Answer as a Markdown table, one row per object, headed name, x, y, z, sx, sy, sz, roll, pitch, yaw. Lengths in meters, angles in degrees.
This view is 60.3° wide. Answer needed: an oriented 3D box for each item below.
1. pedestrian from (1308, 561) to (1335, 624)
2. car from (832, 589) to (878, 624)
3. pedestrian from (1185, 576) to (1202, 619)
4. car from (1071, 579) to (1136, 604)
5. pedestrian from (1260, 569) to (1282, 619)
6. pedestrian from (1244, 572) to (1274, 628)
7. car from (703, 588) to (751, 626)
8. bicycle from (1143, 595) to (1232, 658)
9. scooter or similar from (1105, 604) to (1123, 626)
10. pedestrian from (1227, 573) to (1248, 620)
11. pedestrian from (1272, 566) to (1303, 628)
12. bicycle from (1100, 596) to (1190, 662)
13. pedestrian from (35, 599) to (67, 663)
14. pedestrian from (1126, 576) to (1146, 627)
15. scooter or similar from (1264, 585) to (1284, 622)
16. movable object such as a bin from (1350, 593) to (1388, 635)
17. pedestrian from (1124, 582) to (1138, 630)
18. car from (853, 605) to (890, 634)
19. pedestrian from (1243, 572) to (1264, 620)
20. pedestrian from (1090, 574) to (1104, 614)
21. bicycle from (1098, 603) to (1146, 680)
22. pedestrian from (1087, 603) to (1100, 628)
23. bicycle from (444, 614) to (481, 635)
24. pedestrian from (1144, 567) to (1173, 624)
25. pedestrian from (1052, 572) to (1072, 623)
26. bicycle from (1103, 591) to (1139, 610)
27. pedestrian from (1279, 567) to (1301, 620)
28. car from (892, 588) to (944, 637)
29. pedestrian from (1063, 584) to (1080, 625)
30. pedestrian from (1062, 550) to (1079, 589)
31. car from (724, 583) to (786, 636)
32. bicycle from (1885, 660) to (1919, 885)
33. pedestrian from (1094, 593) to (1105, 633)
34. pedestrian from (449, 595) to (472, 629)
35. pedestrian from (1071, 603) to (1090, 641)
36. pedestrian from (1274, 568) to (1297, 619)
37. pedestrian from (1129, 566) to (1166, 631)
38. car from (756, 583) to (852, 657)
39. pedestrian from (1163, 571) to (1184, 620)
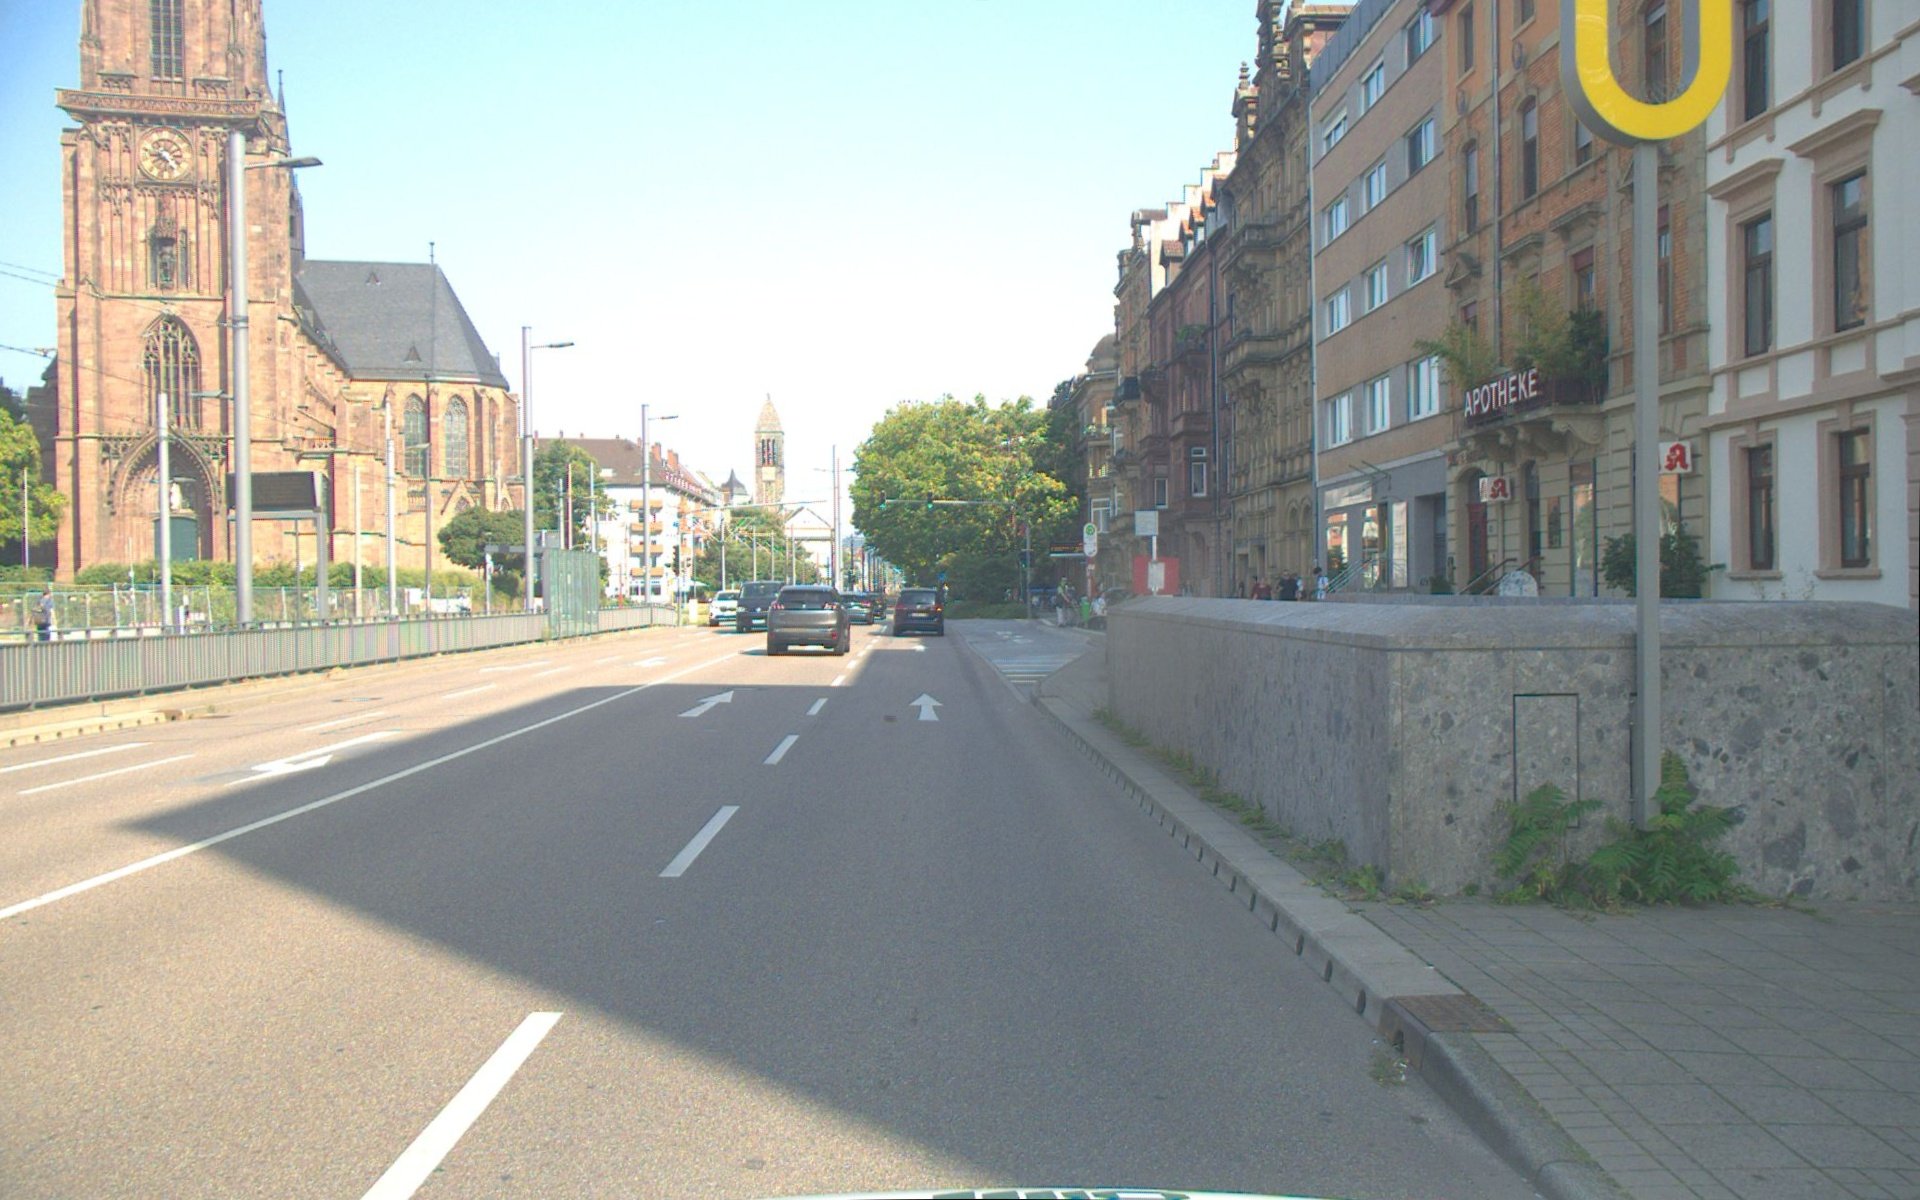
| name | x | y | z | sx | sy | sz | roll | pitch | yaw |
| --- | --- | --- | --- | --- | --- | --- | --- | --- | --- |
| pedestrian | 10.822 | -0.217 | 49.534 | 0.591 | 1.863 | 0.742 | -1 | 0 | -5 |
| car | -4.634 | 0.272 | 73.579 | 1.826 | 1.449 | 4.356 | 0 | 1 | -1 |
| pedestrian | 8.918 | -0.109 | 63.157 | 0.476 | 1.638 | 0.812 | -1 | 0 | 0 |
| car | 9.706 | -0.583 | 111.910 | 4.099 | 1.590 | 1.998 | -1 | 0 | -6 |
| pedestrian | 10.739 | -0.208 | 57.128 | 0.591 | 1.721 | 0.586 | -1 | 0 | -5 |
| pedestrian | 8.858 | 0.004 | 48.983 | 0.705 | 1.638 | 0.856 | -1 | 0 | -1 |
| car | -10.819 | 0.288 | 77.159 | 1.678 | 1.639 | 4.503 | -2 | 0 | -2 |
| bicycle | 4.339 | 0.497 | 31.608 | 1.599 | 1.168 | 0.601 | -1 | 0 | 0 |
| scooter or similar | 5.401 | 0.519 | 58.054 | 0.554 | 0.754 | 0.514 | -1 | 0 | -5 |
| pedestrian | 10.431 | -0.126 | 62.234 | 0.617 | 1.749 | 0.690 | -1 | 0 | -2 |
| pedestrian | 9.615 | -0.092 | 48.624 | 0.705 | 1.818 | 0.856 | -1 | 0 | -1 |
| bicycle | 3.452 | 0.536 | 30.820 | 1.601 | 1.168 | 0.385 | -1 | 0 | -7 |
| pedestrian | -24.841 | 0.844 | 45.214 | 0.507 | 1.730 | 0.664 | -1 | 0 | -2 |
| pedestrian | 6.156 | 0.045 | 57.880 | 0.554 | 1.759 | 0.617 | -1 | 0 | -5 |
| scooter or similar | 10.295 | 0.104 | 54.258 | 0.353 | 1.183 | 1.151 | -1 | 0 | -4 |
| movable object such as a bin | 10.773 | 0.366 | 43.554 | 0.725 | 1.099 | 0.666 | -1 | 0 | -18 |
| pedestrian | 6.354 | 0.229 | 61.467 | 0.334 | 1.763 | 0.805 | -1 | 0 | -5 |
| car | -4.798 | 1.061 | 90.158 | 1.826 | 1.449 | 4.356 | 0 | 1 | -1 |
| pedestrian | 10.516 | -0.156 | 59.195 | 0.591 | 1.683 | 0.586 | -1 | 0 | -5 |
| pedestrian | 5.968 | -0.254 | 71.998 | 0.472 | 1.731 | 0.702 | -1 | 0 | -5 |
| bicycle | 2.567 | 0.643 | 26.317 | 0.399 | 1.168 | 1.653 | -1 | 0 | -7 |
| pedestrian | 4.529 | 0.531 | 56.144 | 0.297 | 0.834 | 0.603 | -1 | 0 | -9 |
| bicycle | -25.076 | 1.225 | 83.323 | 1.721 | 0.995 | 0.480 | -1 | 0 | 7 |
| pedestrian | 6.223 | -0.146 | 51.954 | 0.735 | 1.759 | 0.800 | -1 | 0 | -5 |
| pedestrian | 3.576 | -0.082 | 57.980 | 0.554 | 1.759 | 0.745 | -1 | 0 | -5 |
| bicycle | 9.012 | 0.029 | 92.532 | 1.891 | 1.066 | 0.499 | -1 | 0 | -7 |
| pedestrian | 11.068 | -0.205 | 55.540 | 0.591 | 1.761 | 0.510 | -1 | 0 | -5 |
| car | -1.521 | 0.423 | 60.065 | 1.794 | 1.649 | 4.356 | 0 | 1 | -1 |
| pedestrian | 4.417 | 0.172 | 65.549 | 0.517 | 1.640 | 0.702 | -1 | 0 | -5 |
| pedestrian | 4.856 | -1.315 | 72.509 | 0.676 | 1.693 | 0.619 | -1 | 0 | -1 |
| car | -8.049 | 0.350 | 65.341 | 1.953 | 1.937 | 4.714 | -2 | 0 | -2 |
| bicycle | 5.182 | 0.905 | 8.000 | 0.375 | 1.154 | 1.790 | -1 | 0 | -1 |
| pedestrian | 4.645 | 0.429 | 55.012 | 0.270 | 1.296 | 0.447 | -1 | 0 | -8 |
| pedestrian | -25.166 | 0.600 | 83.314 | 0.897 | 1.709 | 0.603 | -1 | 0 | 6 |
| pedestrian | 4.226 | 0.770 | 57.960 | 0.554 | 1.300 | 0.596 | -1 | 0 | -5 |
| pedestrian | 11.073 | -0.218 | 56.238 | 0.591 | 1.721 | 0.586 | -1 | 0 | -5 |
| pedestrian | 5.435 | -0.052 | 48.048 | 0.907 | 1.863 | 0.800 | -1 | 0 | -5 |
| car | -3.666 | 0.429 | 39.607 | 1.953 | 1.649 | 4.356 | 0 | 1 | -1 |
| pedestrian | 8.159 | -0.166 | 63.238 | 0.604 | 1.835 | 1.071 | -1 | 0 | 0 |
